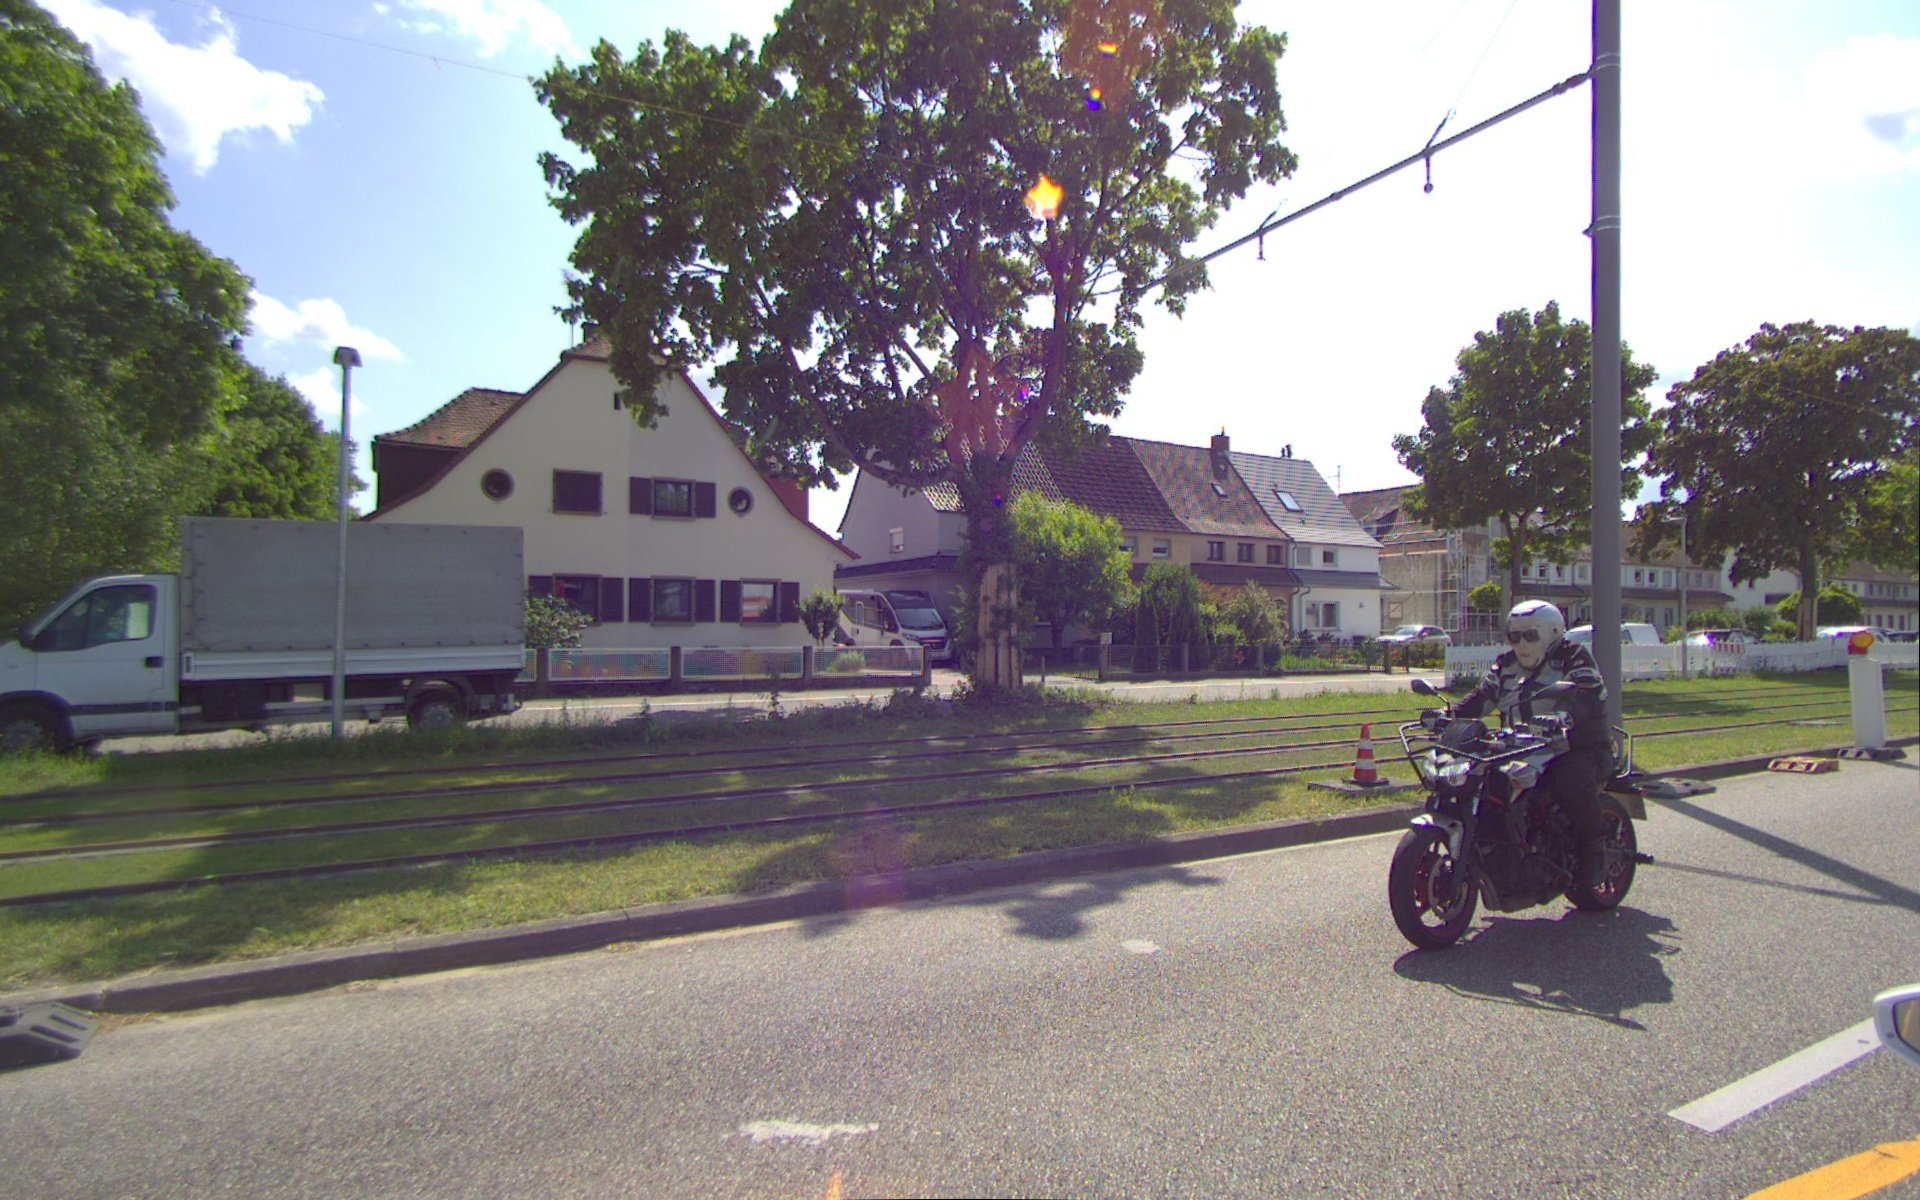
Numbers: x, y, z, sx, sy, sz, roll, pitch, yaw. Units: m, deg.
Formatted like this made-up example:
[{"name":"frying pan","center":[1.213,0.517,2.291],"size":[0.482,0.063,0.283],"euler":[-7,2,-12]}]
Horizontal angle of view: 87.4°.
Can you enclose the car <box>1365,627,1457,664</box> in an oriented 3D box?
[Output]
[{"name":"car","center":[19.987,1.992,44.494],"size":[3.952,1.539,1.768],"euler":[1,-2,-30]}]

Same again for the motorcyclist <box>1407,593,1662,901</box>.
[{"name":"motorcyclist","center":[2.930,0.685,5.161],"size":[0.792,1.396,0.863],"euler":[1,-2,-32]}]

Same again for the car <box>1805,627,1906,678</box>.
[{"name":"car","center":[35.359,2.031,39.638],"size":[4.079,1.892,1.768],"euler":[1,-2,-30]}]

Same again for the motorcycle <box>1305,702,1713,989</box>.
[{"name":"motorcycle","center":[2.826,1.102,5.088],"size":[2.220,1.034,0.863],"euler":[1,-2,-33]}]

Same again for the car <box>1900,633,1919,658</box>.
[{"name":"car","center":[70.029,3.304,72.744],"size":[4.079,1.745,1.768],"euler":[1,-2,-30]}]

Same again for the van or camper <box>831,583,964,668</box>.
[{"name":"van or camper","center":[-2.407,0.940,36.631],"size":[2.269,2.801,6.051],"euler":[1,-2,-32]}]

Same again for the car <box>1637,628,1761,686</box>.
[{"name":"car","center":[24.288,1.831,32.999],"size":[4.177,1.797,1.768],"euler":[1,-2,-30]}]

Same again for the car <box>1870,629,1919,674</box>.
[{"name":"car","center":[40.643,2.165,42.695],"size":[4.079,1.829,1.768],"euler":[1,-2,-30]}]

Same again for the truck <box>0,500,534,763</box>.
[{"name":"truck","center":[-8.837,0.405,12.970],"size":[5.906,2.817,2.255],"euler":[1,-2,-31]}]

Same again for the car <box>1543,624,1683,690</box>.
[{"name":"car","center":[19.553,1.645,30.051],"size":[4.312,1.845,1.768],"euler":[1,-2,-30]}]
